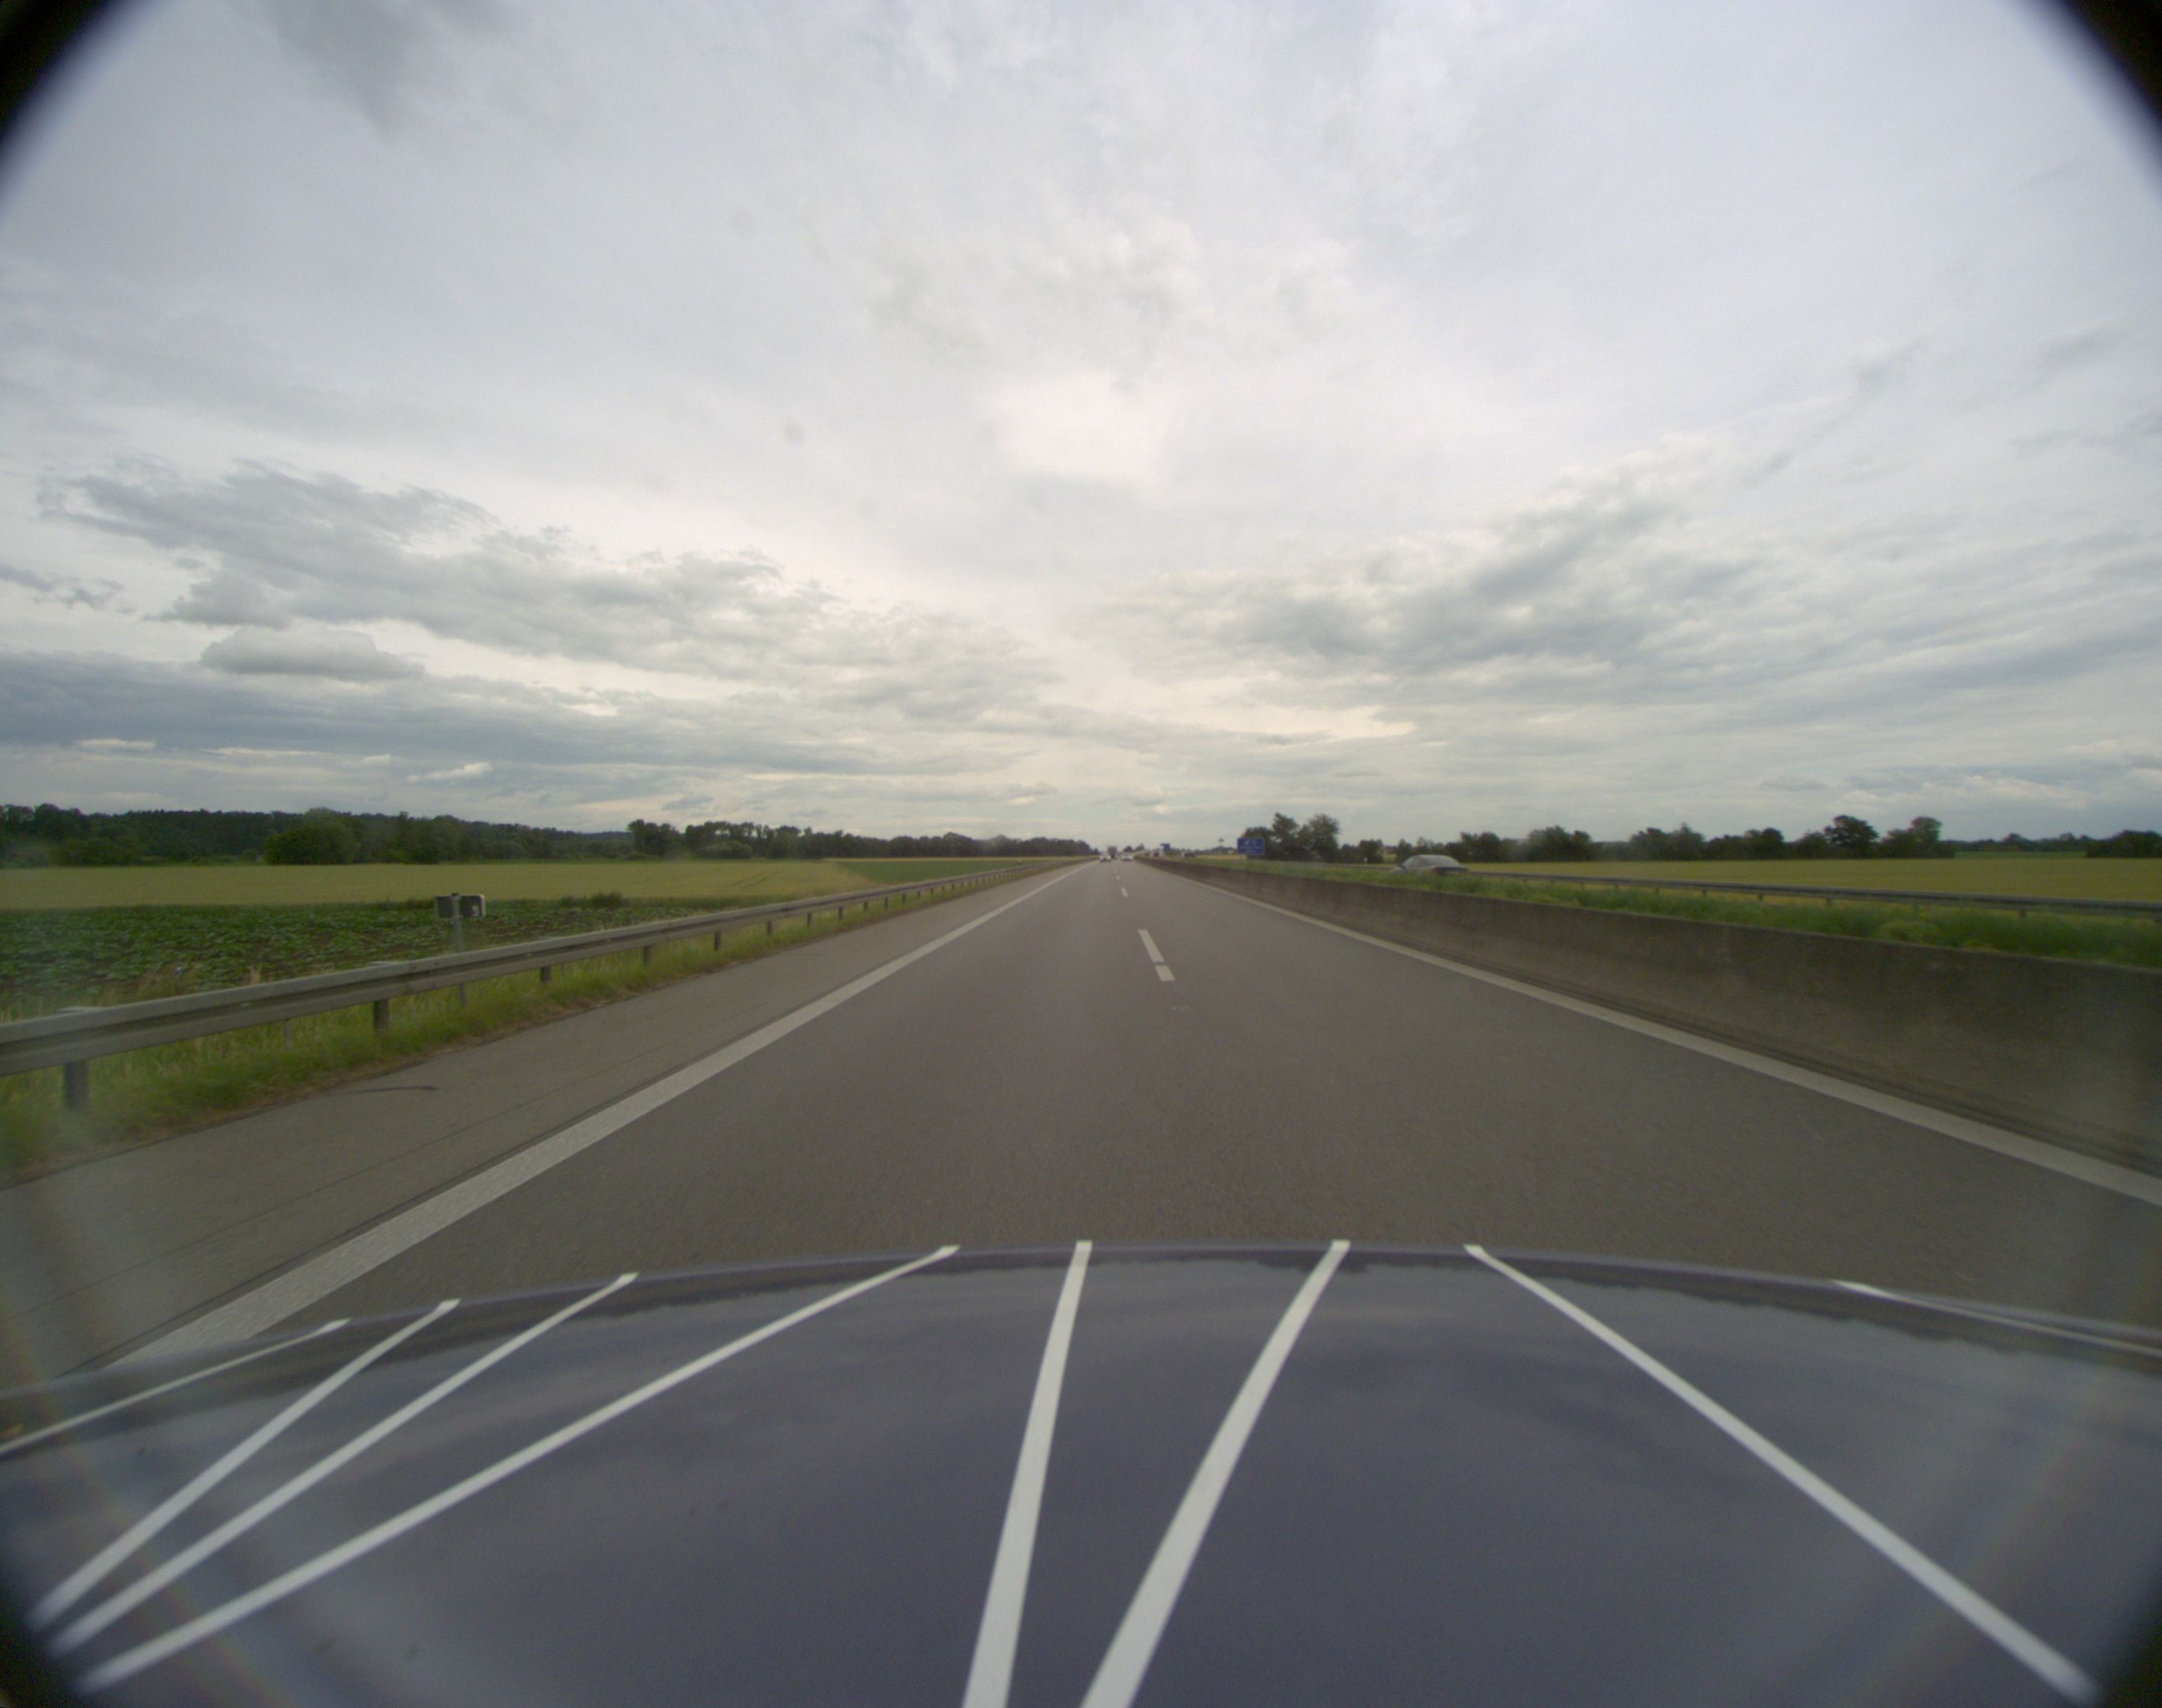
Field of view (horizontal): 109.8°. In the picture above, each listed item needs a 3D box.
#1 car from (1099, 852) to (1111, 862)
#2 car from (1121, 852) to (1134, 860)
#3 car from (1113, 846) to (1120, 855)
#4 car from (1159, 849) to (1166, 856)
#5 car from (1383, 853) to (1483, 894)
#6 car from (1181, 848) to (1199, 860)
[{"bbox_3d":[4.359,0.540,138.060,1.916,1.553,4.287,-1,1,0],"label":"car"},{"bbox_3d":[8.952,0.349,147.211,1.917,1.553,4.286,-1,1,-4],"label":"car"},{"bbox_3d":[9.732,-0.920,208.352,1.915,2.248,5.313,-1,1,3],"label":"car"},{"bbox_3d":[25.197,-0.537,234.139,2.035,2.097,4.906,-1,0,4],"label":"car"},{"bbox_3d":[13.930,0.713,30.412,1.793,1.463,4.905,1,0,1],"label":"car"},{"bbox_3d":[13.196,0.006,92.087,1.693,1.483,4.183,-1,0,1],"label":"car"}]
